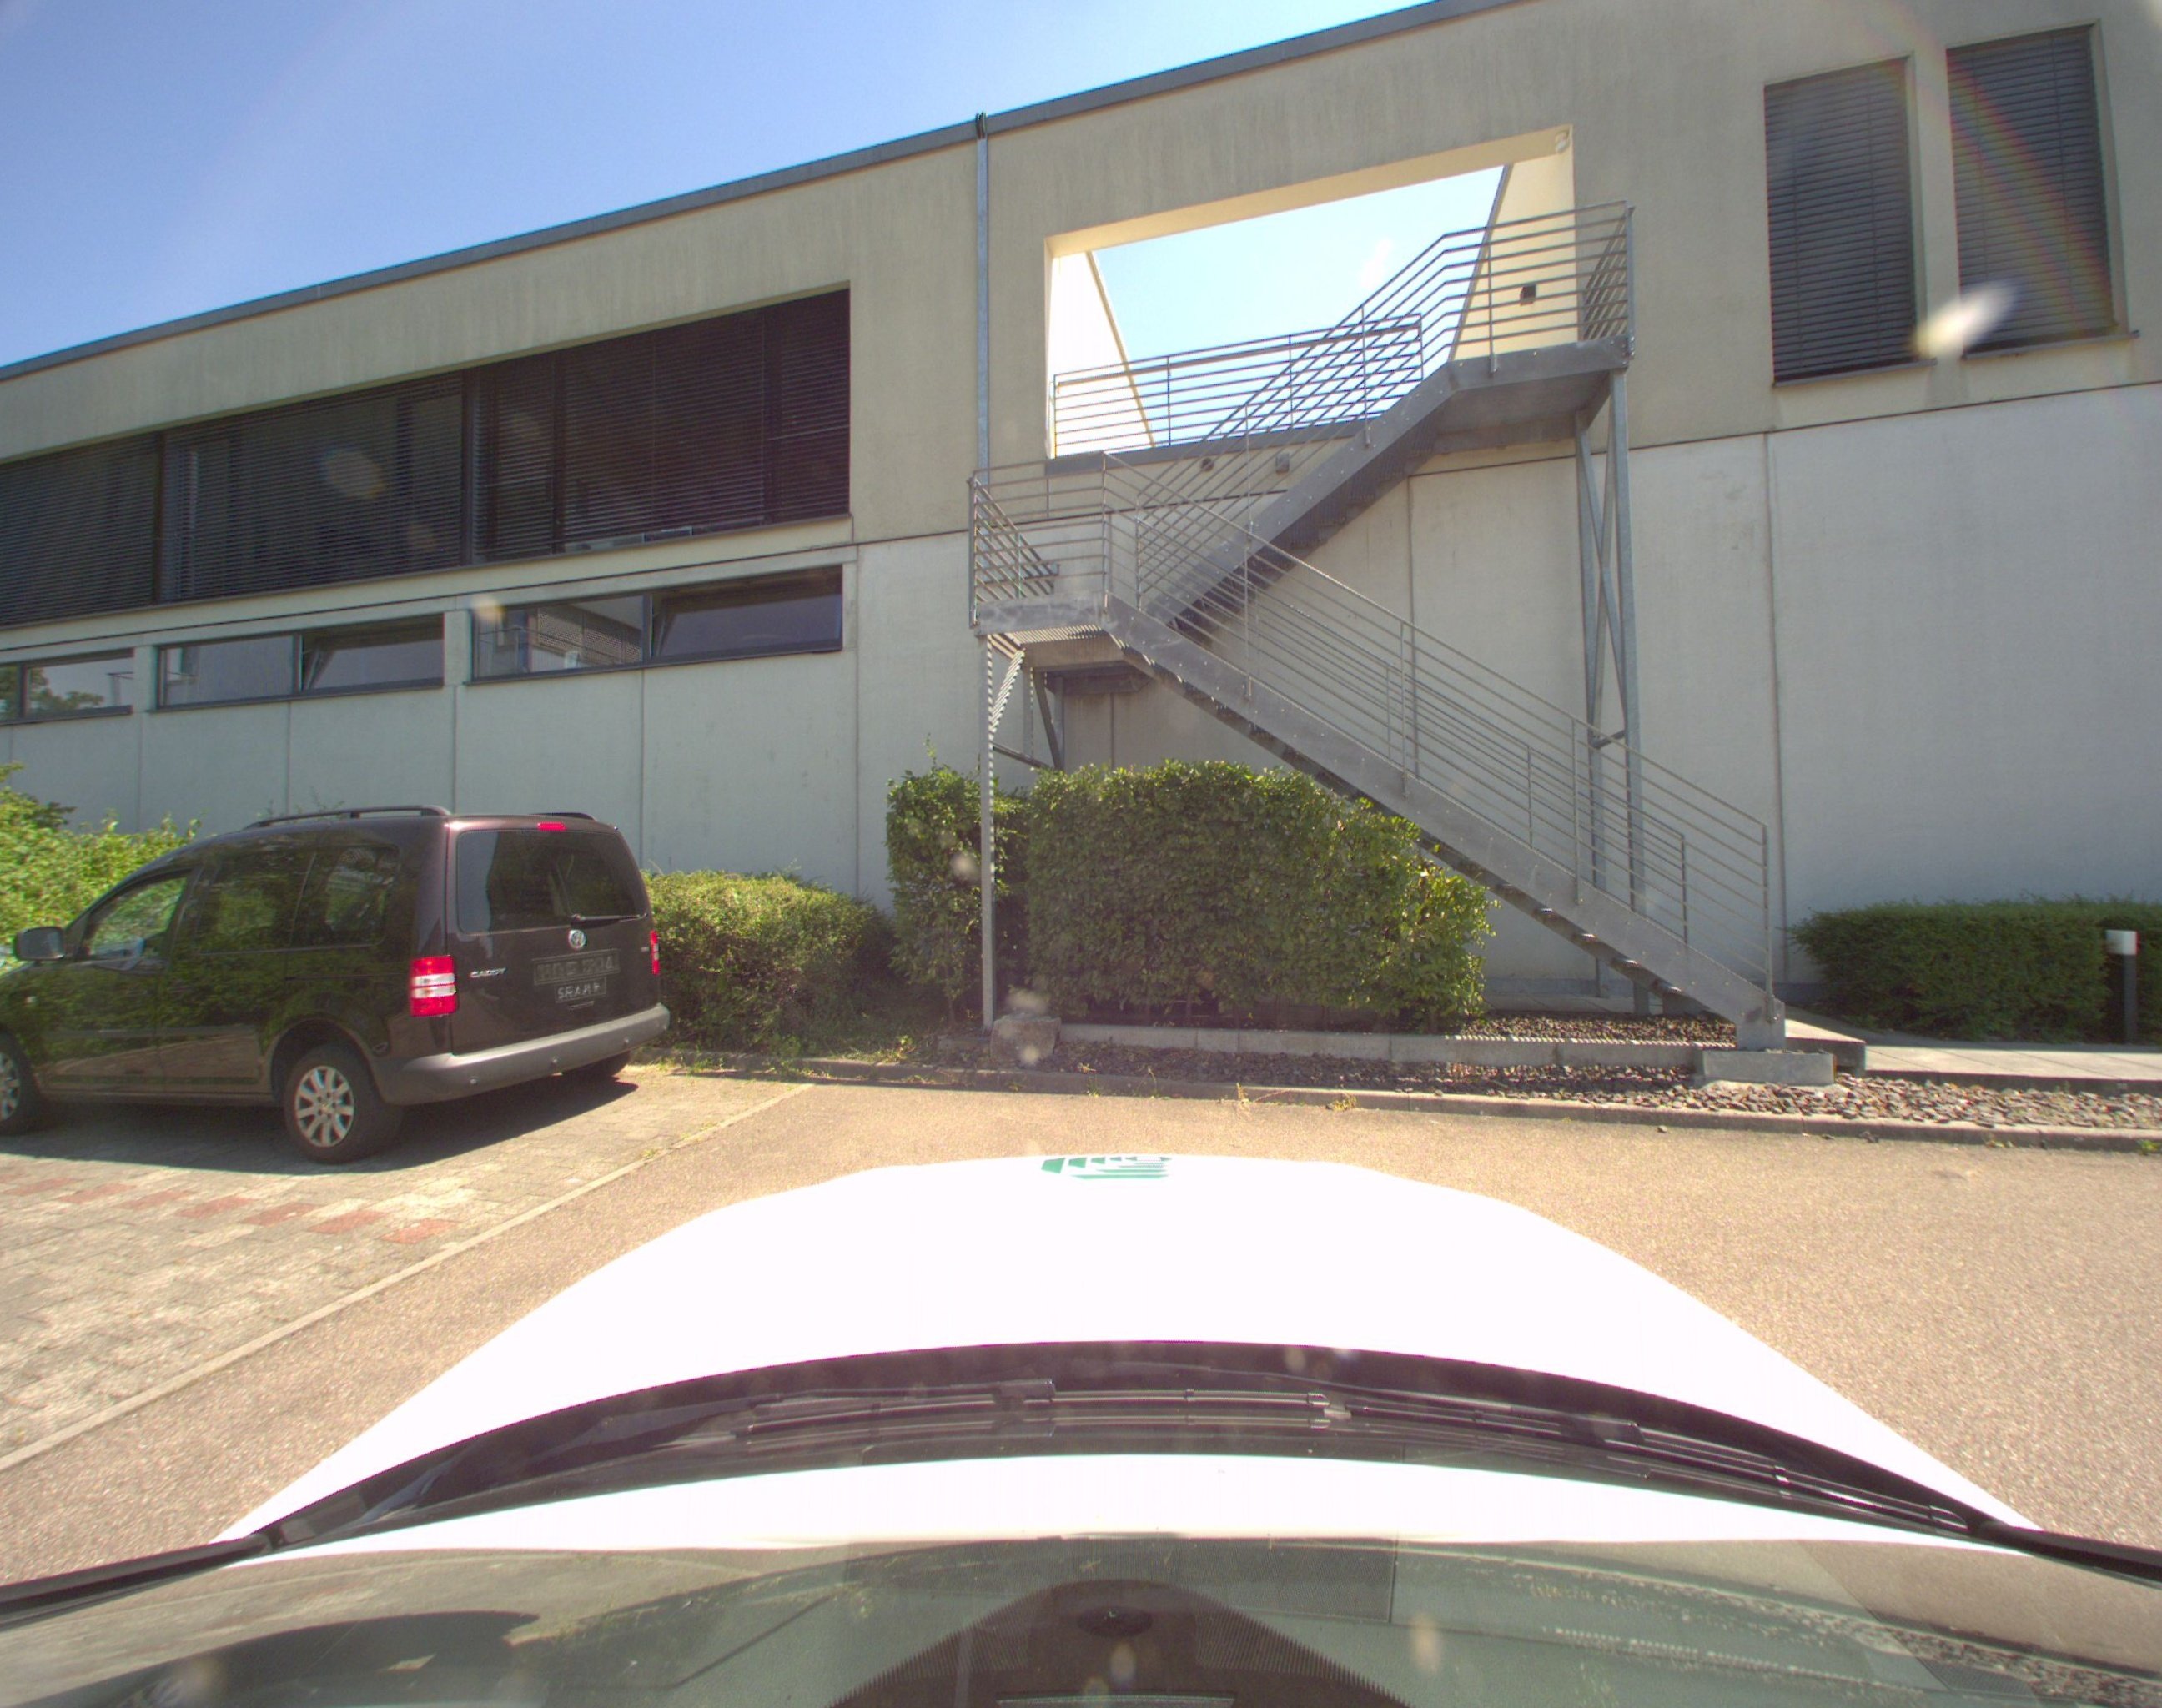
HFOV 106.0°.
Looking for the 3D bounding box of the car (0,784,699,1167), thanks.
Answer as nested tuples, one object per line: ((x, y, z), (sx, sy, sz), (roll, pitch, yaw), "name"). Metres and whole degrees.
((-4.825, 0.634, 5.338), (4.028, 1.884, 1.685), (-1, -1, 15), "car")
